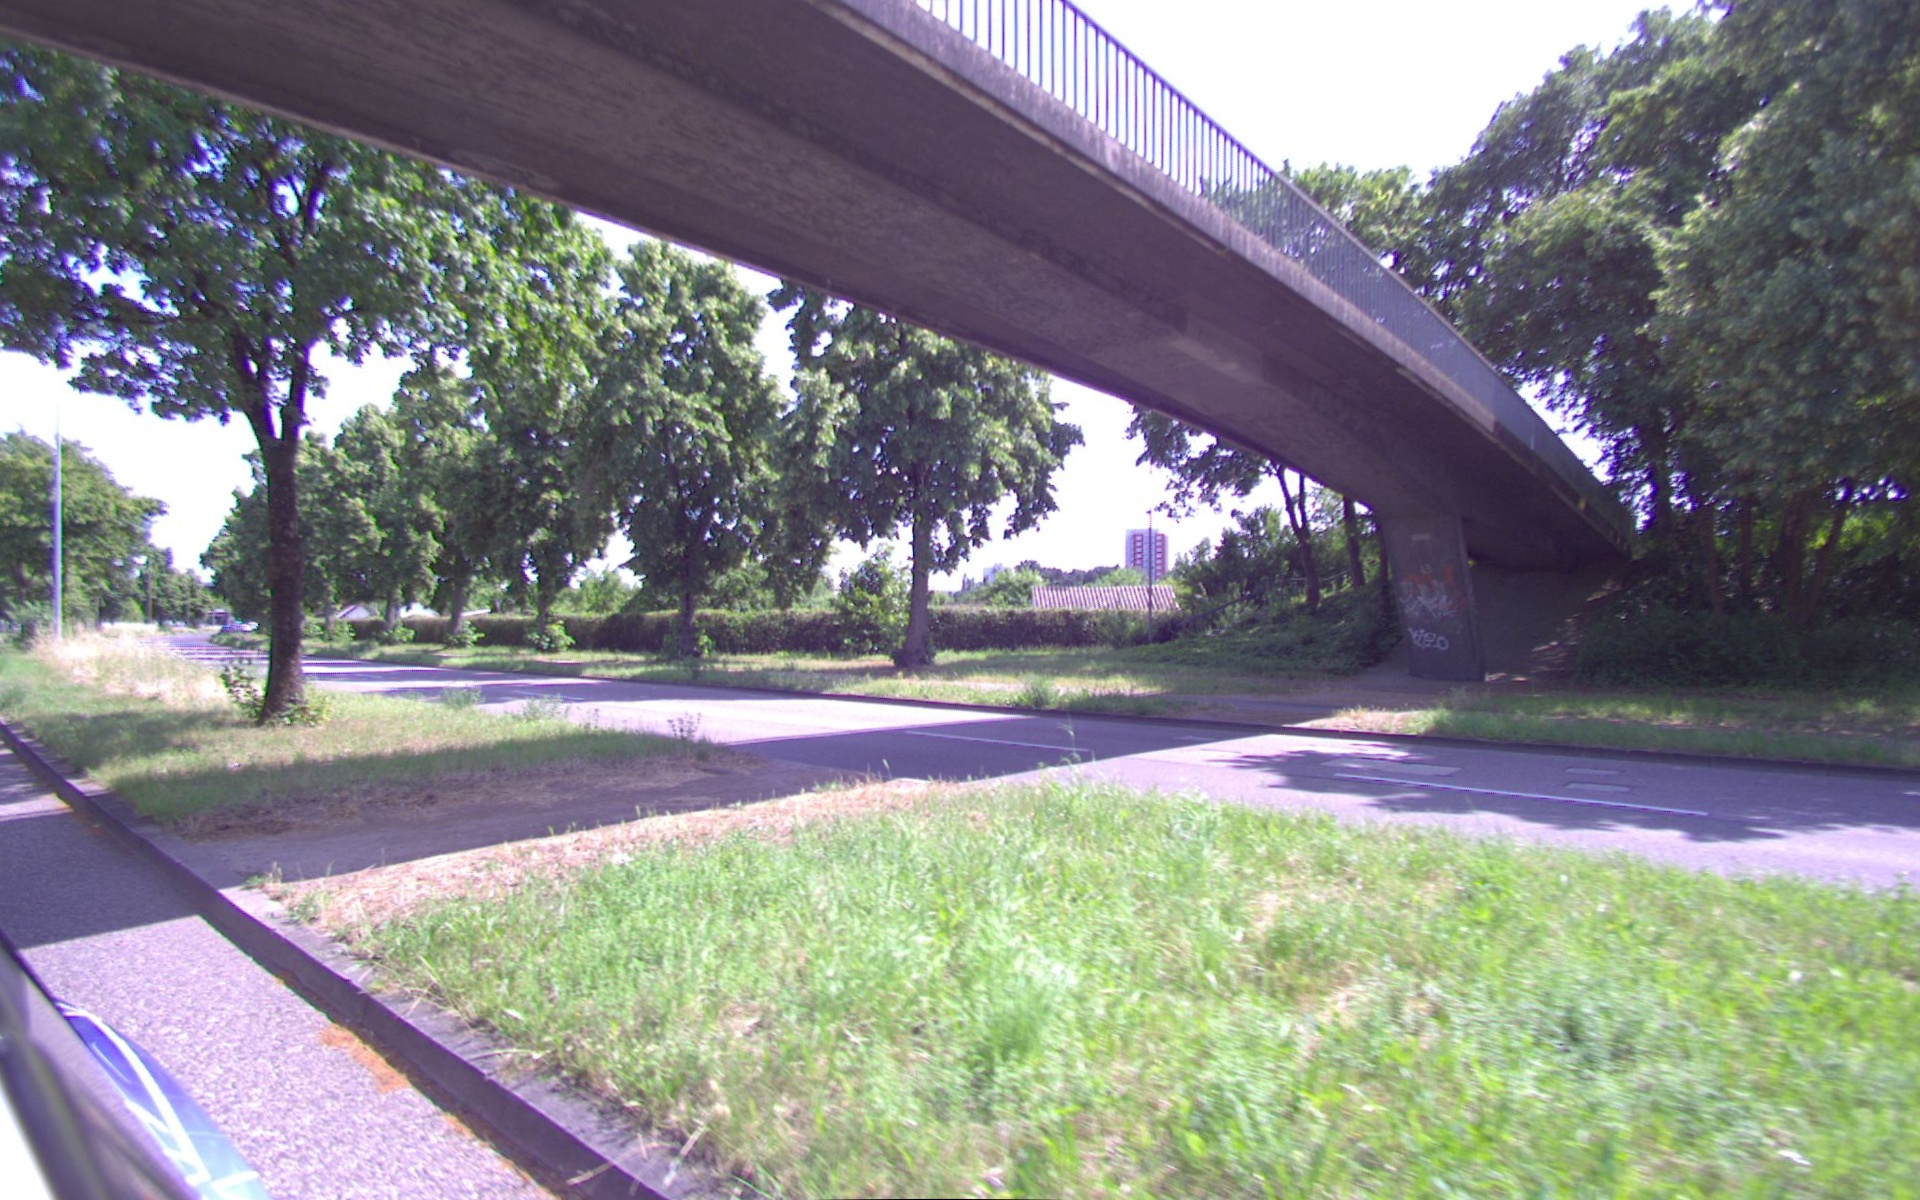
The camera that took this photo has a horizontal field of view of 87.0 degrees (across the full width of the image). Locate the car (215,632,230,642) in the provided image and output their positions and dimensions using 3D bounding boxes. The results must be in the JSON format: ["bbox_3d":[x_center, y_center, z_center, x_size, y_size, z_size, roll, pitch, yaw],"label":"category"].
[{"bbox_3d":[-119.083,5.949,163.509,1.713,1.598,4.123,2,-3,-33],"label":"car"}]

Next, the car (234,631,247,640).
[{"bbox_3d":[-134.018,6.676,188.546,1.712,1.598,4.124,2,-3,-31],"label":"car"}]

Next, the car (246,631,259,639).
[{"bbox_3d":[-140.261,7.000,200.585,1.712,1.598,4.124,2,-3,-31],"label":"car"}]
